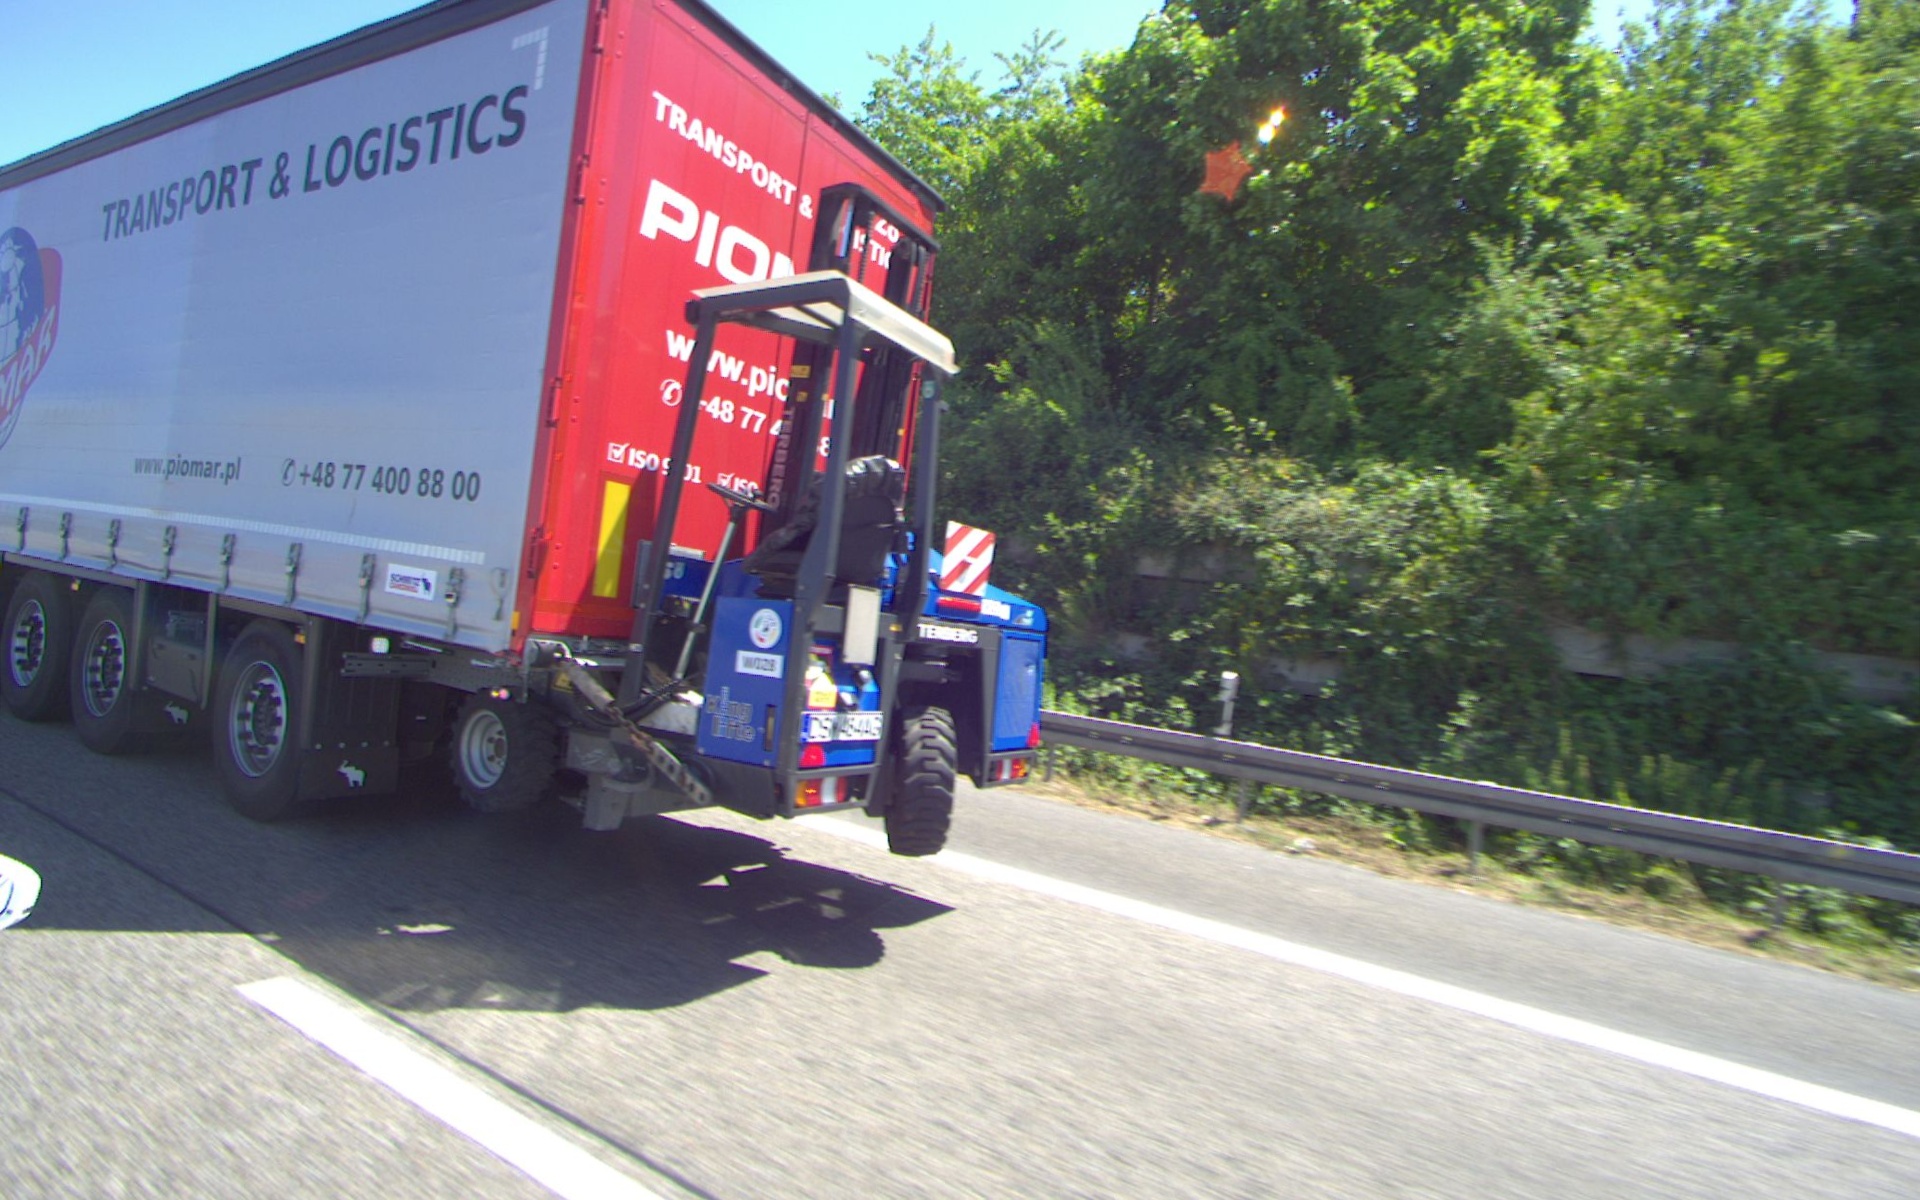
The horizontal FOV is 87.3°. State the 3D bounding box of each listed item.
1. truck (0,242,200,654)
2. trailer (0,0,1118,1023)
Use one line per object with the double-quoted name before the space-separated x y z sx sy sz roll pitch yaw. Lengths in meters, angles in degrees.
"truck" -12.331 -1.807 12.006 6.979 3.966 2.503 6 -1 31
"trailer" -5.945 -1.130 8.030 14.009 3.956 2.494 6 -1 31
